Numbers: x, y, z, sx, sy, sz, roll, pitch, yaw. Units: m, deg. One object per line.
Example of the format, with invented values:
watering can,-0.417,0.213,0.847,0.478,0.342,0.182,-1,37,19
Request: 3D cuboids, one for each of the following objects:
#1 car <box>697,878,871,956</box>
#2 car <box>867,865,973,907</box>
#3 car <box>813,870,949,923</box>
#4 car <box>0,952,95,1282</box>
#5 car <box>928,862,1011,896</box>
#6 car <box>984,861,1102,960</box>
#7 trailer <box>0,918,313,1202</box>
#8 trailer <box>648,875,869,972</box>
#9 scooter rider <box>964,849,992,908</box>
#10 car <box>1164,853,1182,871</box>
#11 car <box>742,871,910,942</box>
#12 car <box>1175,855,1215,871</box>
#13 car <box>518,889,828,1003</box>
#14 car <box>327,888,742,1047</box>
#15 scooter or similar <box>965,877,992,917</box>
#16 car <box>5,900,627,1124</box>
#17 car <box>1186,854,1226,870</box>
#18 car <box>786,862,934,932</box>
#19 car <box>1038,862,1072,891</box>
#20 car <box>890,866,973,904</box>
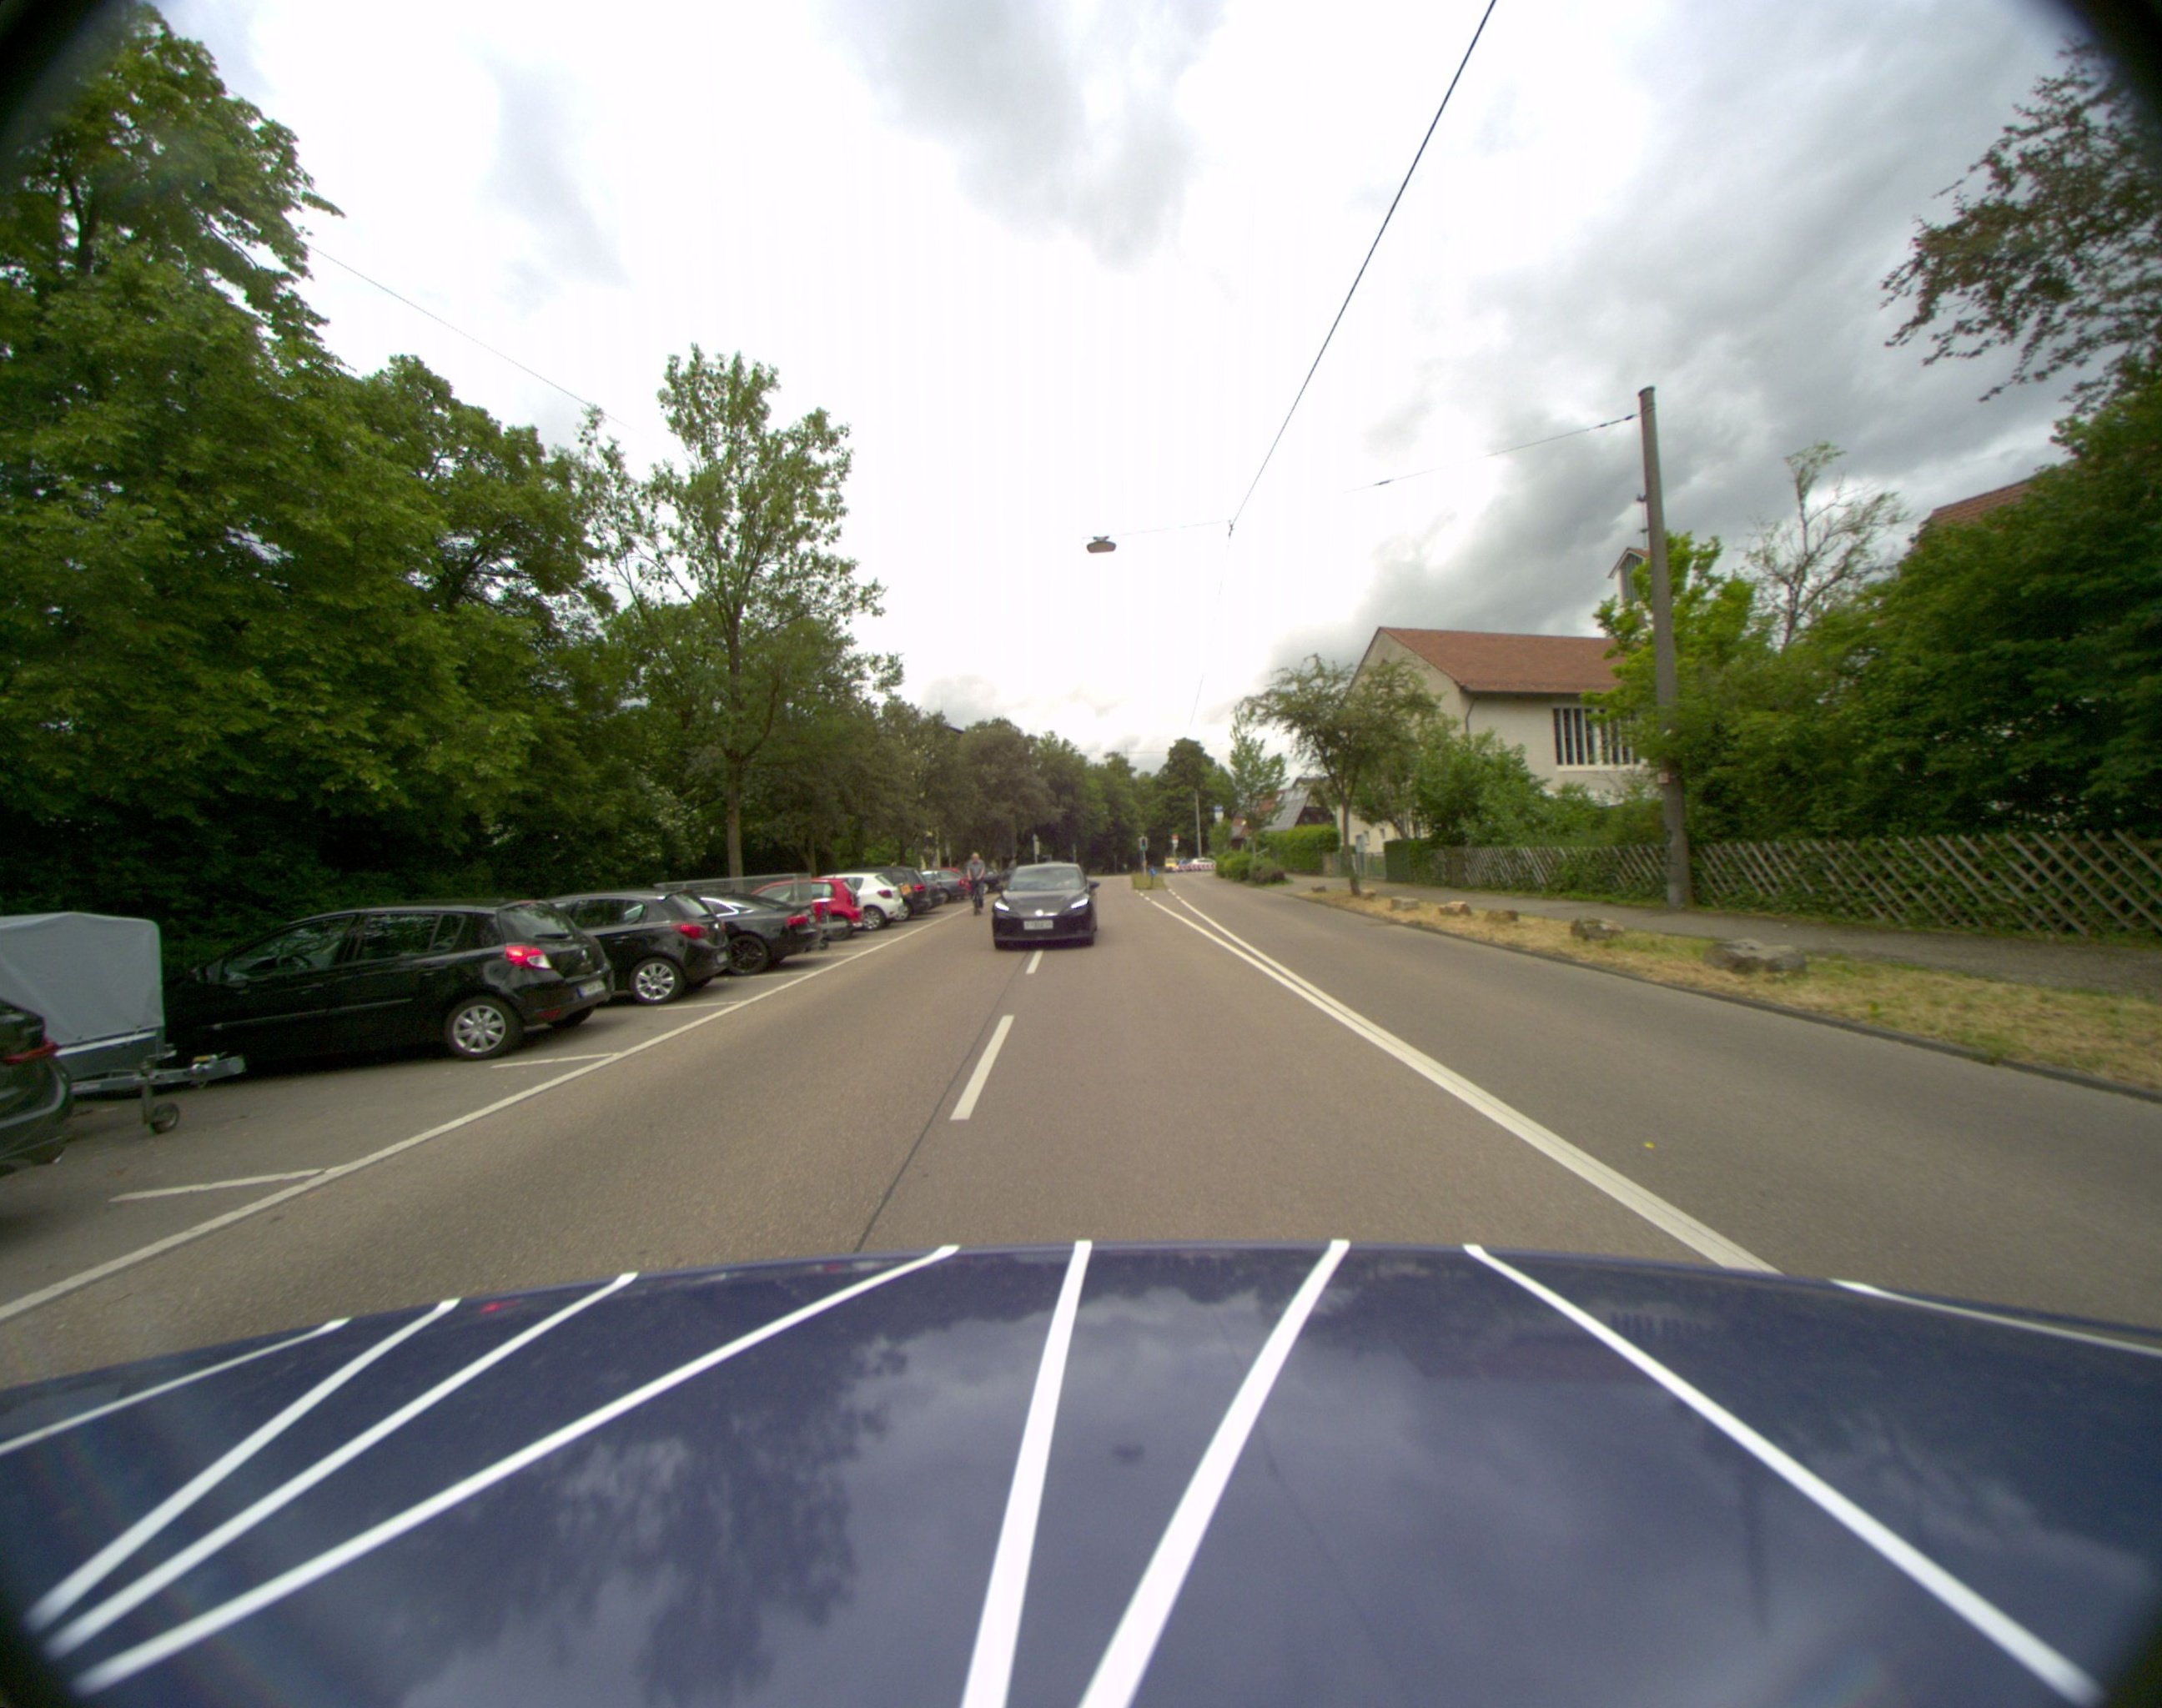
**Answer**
car,-6.765,1.399,17.634,3.436,1.437,1.558,-4,1,-11
car,-6.808,1.353,32.450,4.233,1.455,1.634,-4,0,-8
car,-6.554,1.378,25.278,4.173,1.398,1.696,-4,1,-10
car,-6.862,1.320,2.407,4.361,1.437,1.632,-4,0,-17
car,-5.894,1.317,40.141,4.149,1.467,1.575,-4,0,-11
car,-0.585,0.972,14.911,1.803,1.541,4.299,-3,0,3
trailer,-7.281,1.327,4.889,2.996,1.533,1.302,-4,0,-12
trailer,-6.297,1.322,15.238,3.701,1.526,1.645,-4,0,-10
scooter rider,-3.178,0.745,23.486,0.683,1.720,1.196,-3,0,-4
car,11.364,1.006,93.877,1.920,1.977,4.802,-3,-1,5
car,-6.641,1.337,20.104,3.831,1.520,1.605,-4,1,-3
car,12.830,1.006,85.609,4.175,1.537,1.846,-3,-2,0
car,-6.352,1.404,12.270,4.050,1.320,1.558,-4,1,-11
car,-6.697,1.336,9.765,3.925,1.478,1.616,-4,0,-12
scooter or similar,-3.158,1.316,23.559,0.683,1.132,1.459,-3,0,-4
car,-6.790,1.332,7.206,3.853,1.446,1.633,-4,0,-10
car,13.691,0.865,83.249,3.904,1.463,1.845,-3,-2,-7
car,-6.464,1.229,22.631,3.999,1.715,1.679,-4,1,-10
car,-1.531,1.330,46.432,1.814,1.520,4.000,-3,0,1
car,-6.835,1.376,34.807,3.535,1.467,1.591,-4,0,-11
